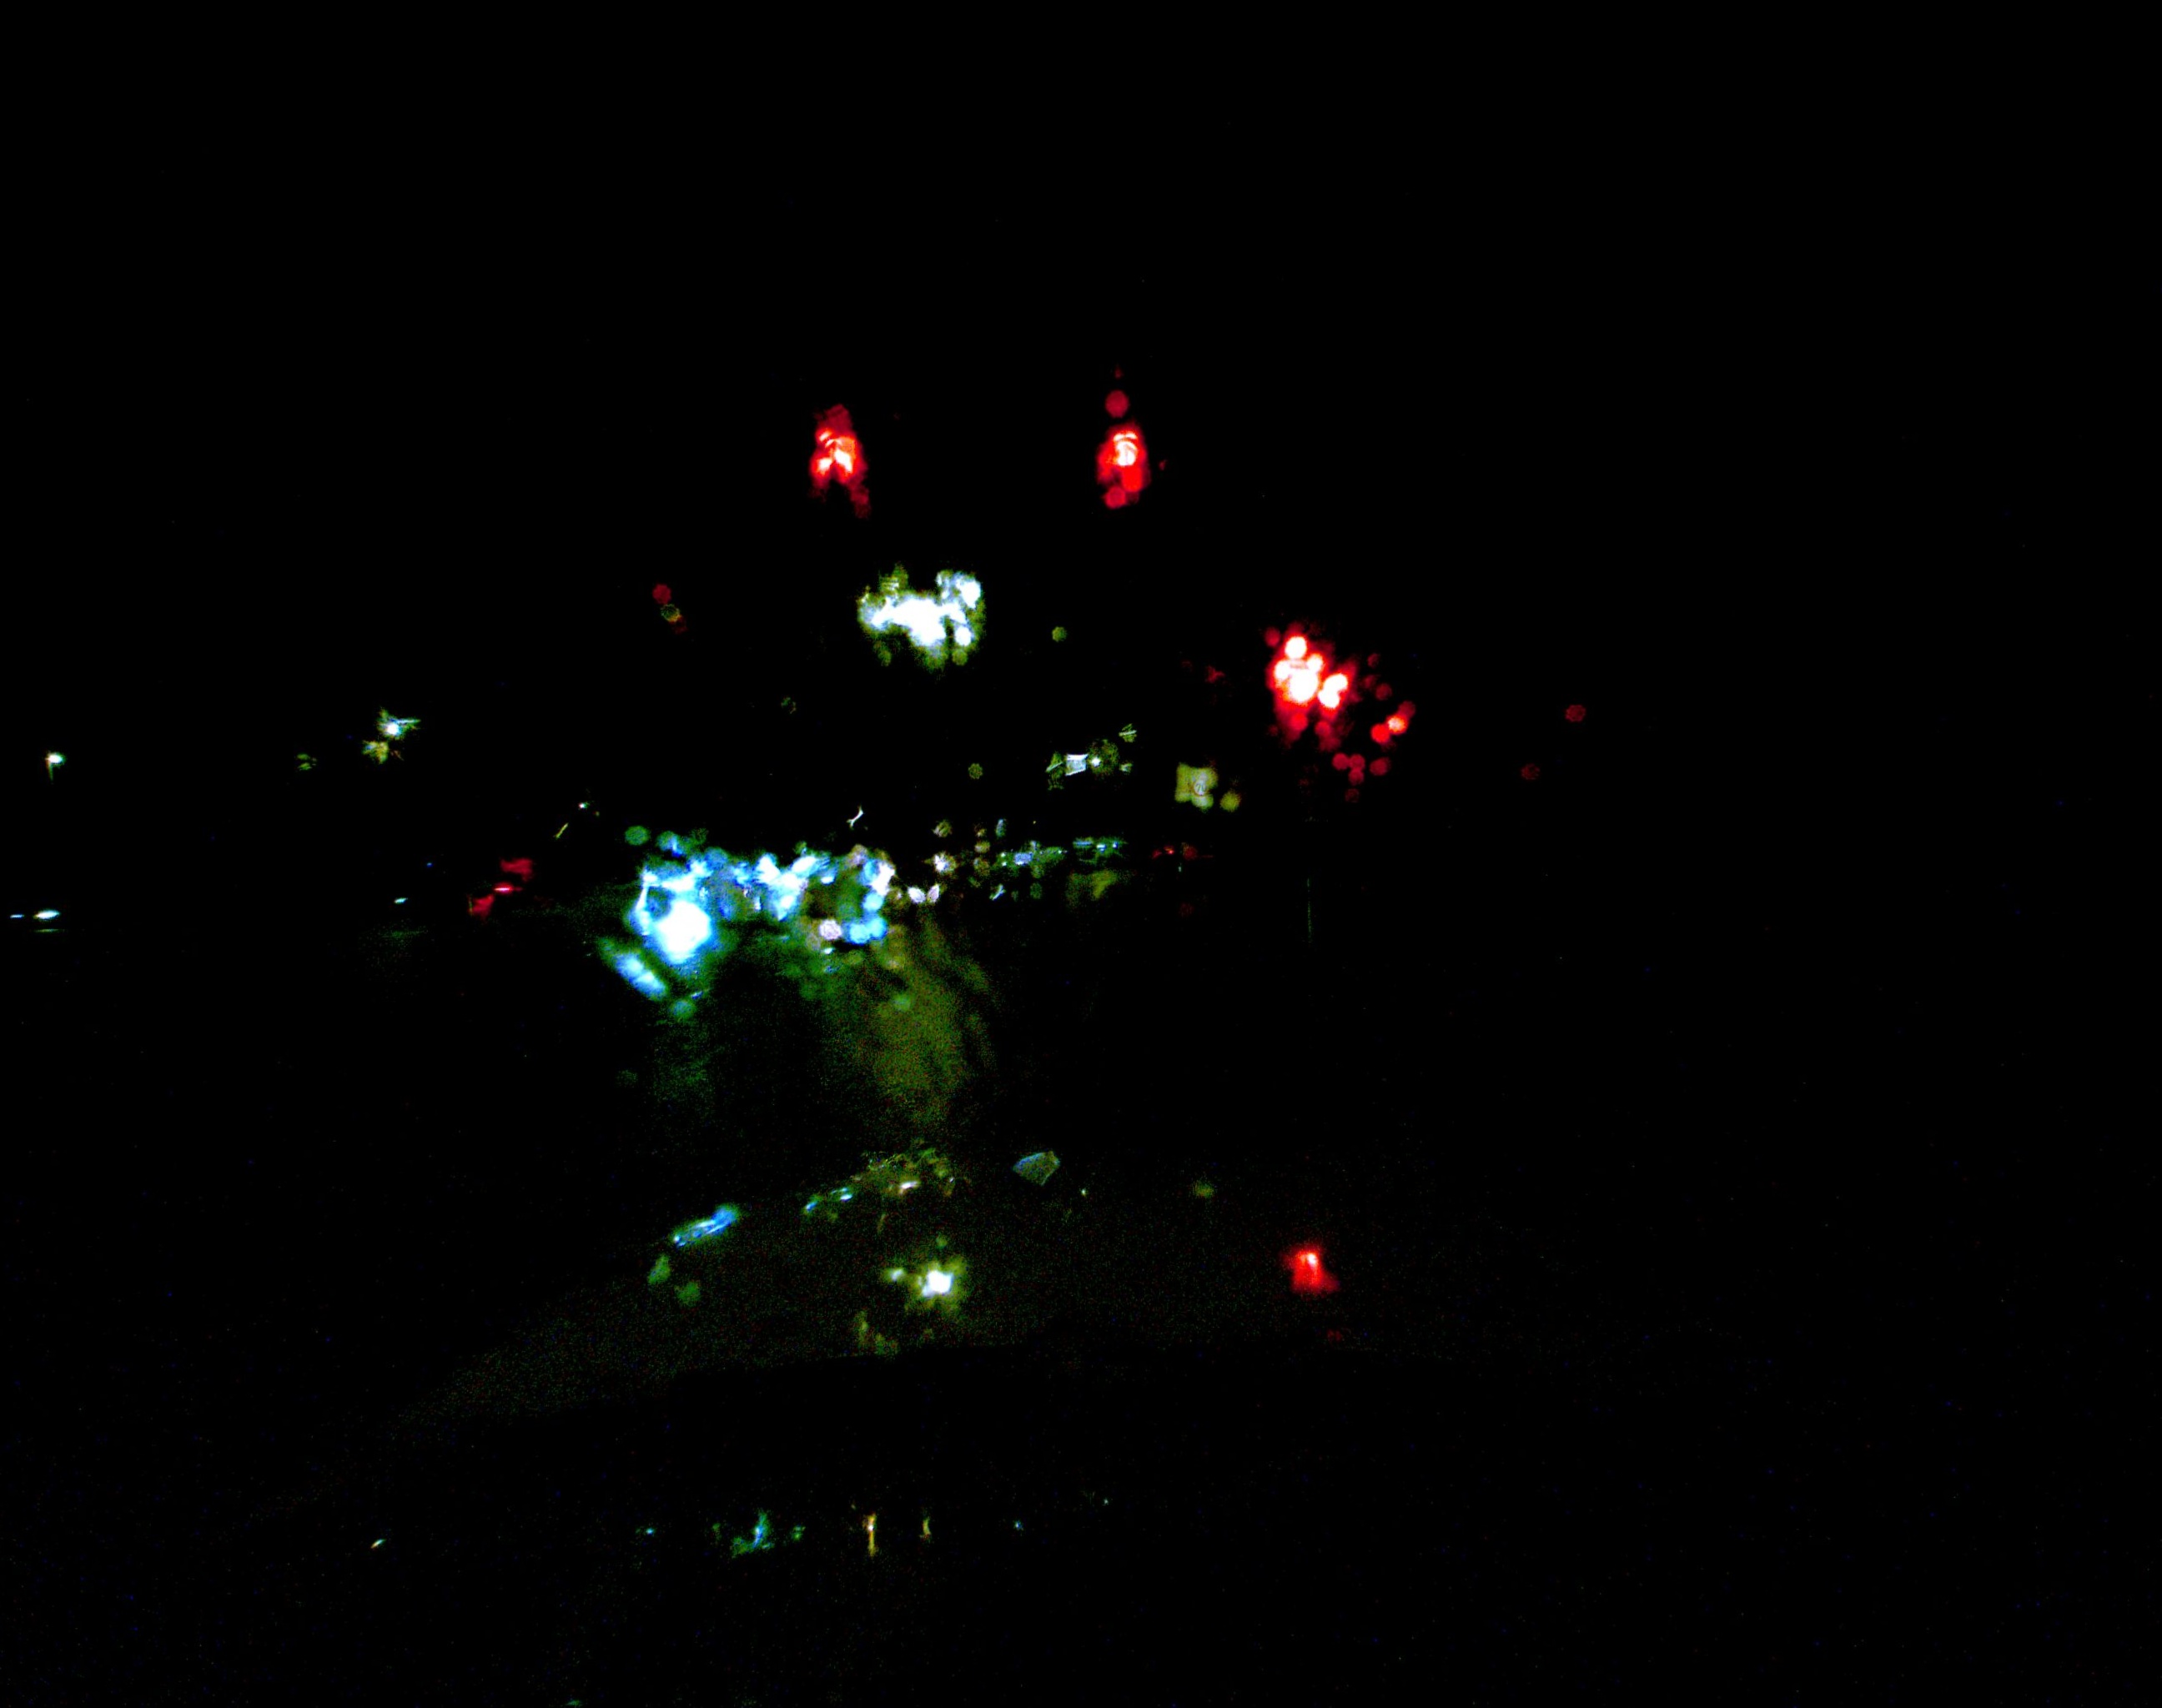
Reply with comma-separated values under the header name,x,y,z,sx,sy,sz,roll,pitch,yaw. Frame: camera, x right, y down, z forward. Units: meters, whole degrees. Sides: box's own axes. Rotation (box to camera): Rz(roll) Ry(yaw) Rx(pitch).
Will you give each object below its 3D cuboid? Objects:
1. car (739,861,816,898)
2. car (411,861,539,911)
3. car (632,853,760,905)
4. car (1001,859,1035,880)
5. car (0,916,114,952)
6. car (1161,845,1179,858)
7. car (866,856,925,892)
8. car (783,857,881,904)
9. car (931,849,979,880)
name,x,y,z,sx,sy,sz,roll,pitch,yaw
car,-12.534,1.034,33.862,1.661,1.454,3.730,-1,-1,3
car,-25.282,1.289,34.130,4.009,1.831,1.706,-2,0,-27
car,-12.801,0.772,27.461,1.785,1.571,4.916,-1,0,2
car,-4.788,1.194,62.788,1.699,1.534,4.609,-1,-1,7
car,-52.131,3.999,41.135,2.176,1.449,4.118,-1,-1,-13
car,11.082,-0.288,101.747,1.986,1.611,4.104,-1,-1,2
car,-8.519,0.905,37.686,1.577,1.526,3.657,-1,-1,6
car,-9.201,0.943,30.551,1.690,1.571,4.721,-1,0,7
car,-7.422,0.611,48.269,1.708,1.703,4.151,-1,-1,7
